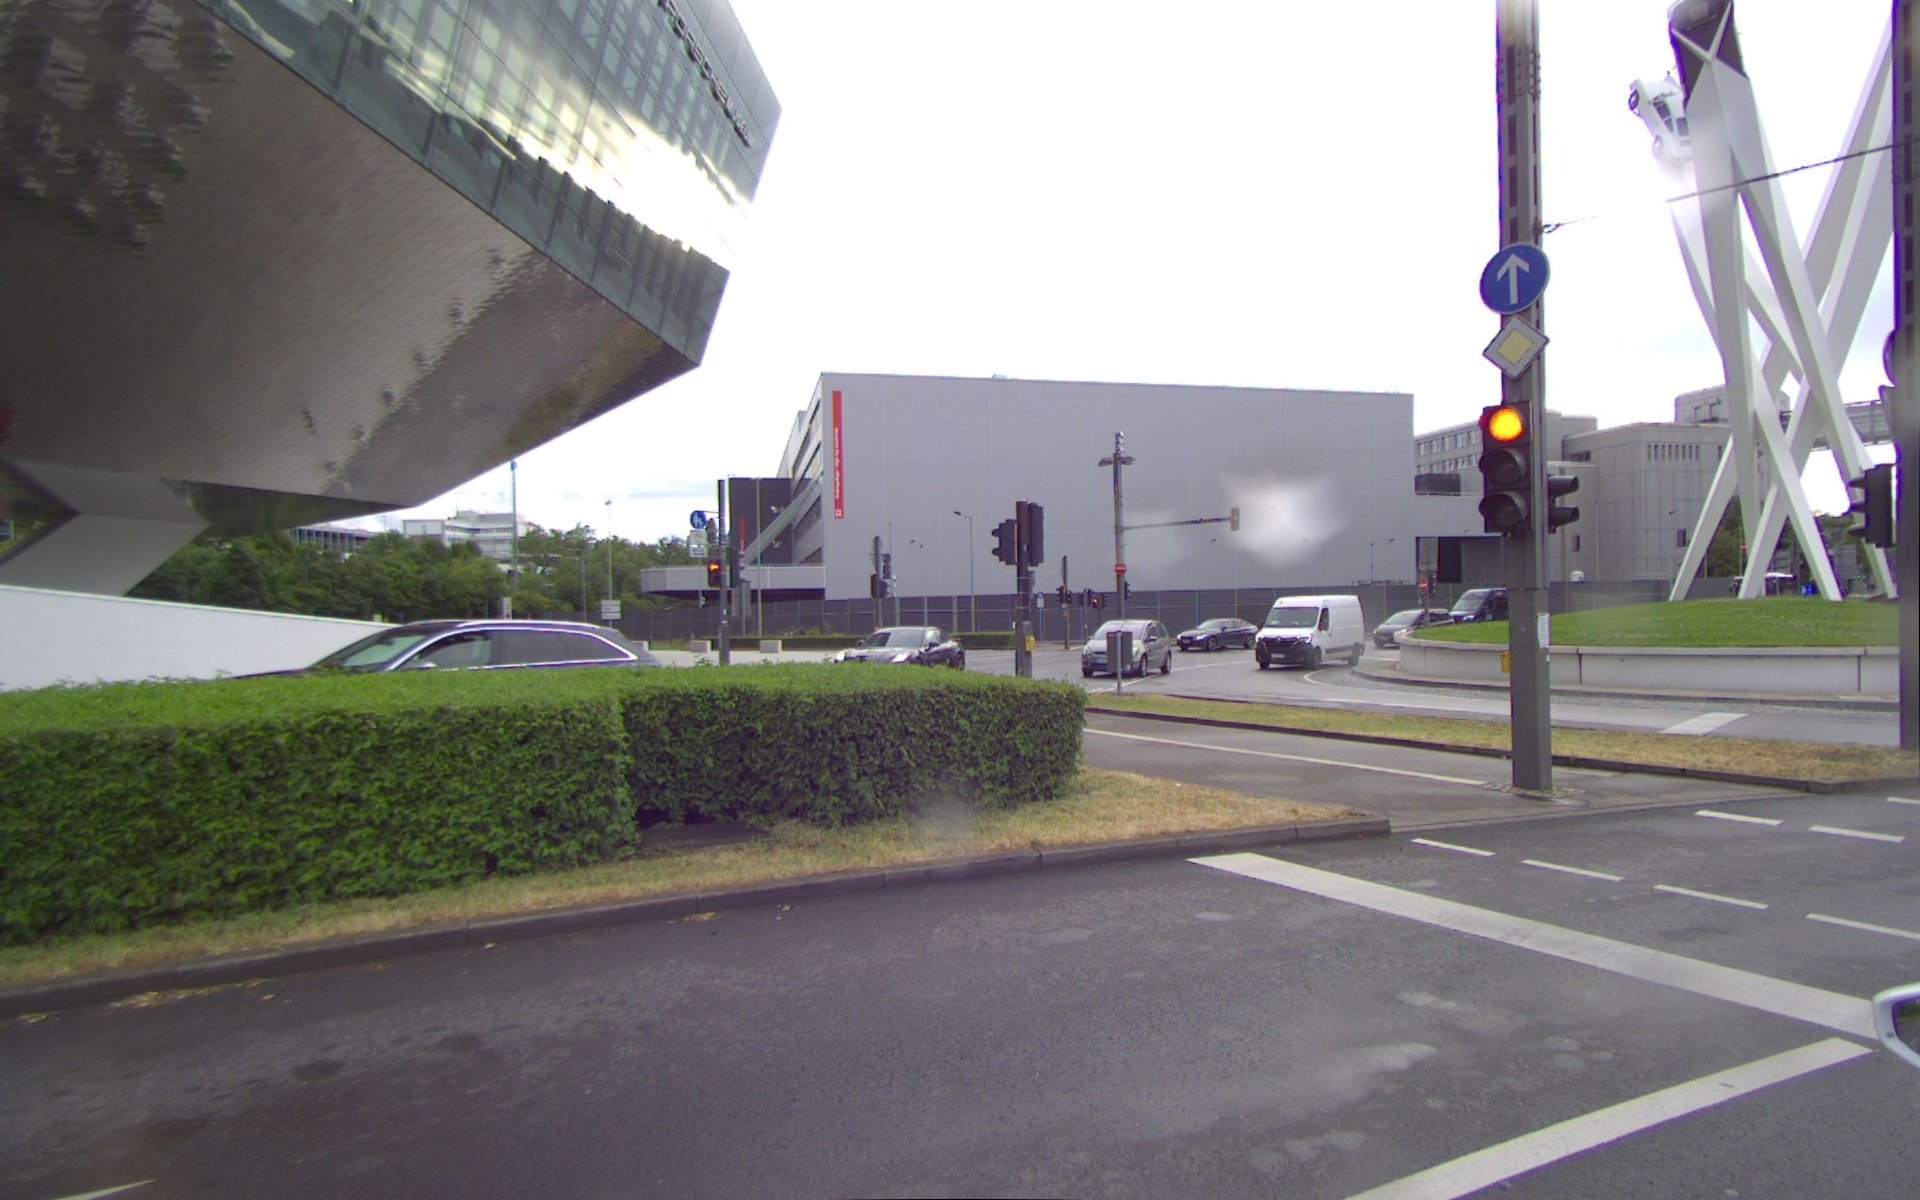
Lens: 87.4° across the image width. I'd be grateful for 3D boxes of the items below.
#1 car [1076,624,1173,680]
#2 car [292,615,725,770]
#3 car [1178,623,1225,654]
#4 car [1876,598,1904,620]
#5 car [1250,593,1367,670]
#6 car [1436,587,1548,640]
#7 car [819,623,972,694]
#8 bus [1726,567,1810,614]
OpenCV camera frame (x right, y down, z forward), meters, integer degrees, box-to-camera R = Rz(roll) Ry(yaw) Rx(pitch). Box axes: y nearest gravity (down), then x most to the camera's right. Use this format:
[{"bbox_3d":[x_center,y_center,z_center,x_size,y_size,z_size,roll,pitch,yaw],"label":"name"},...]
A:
[{"bbox_3d":[4.957,1.474,29.888,1.805,1.514,3.996,0,-1,26],"label":"car"},{"bbox_3d":[-4.702,0.853,11.013,1.820,1.356,3.989,0,-1,33],"label":"car"},{"bbox_3d":[11.446,1.767,47.492,1.803,1.356,4.248,0,-1,18],"label":"car"},{"bbox_3d":[88.427,0.851,95.482,3.732,2.040,1.629,1,0,-43],"label":"car"},{"bbox_3d":[12.251,1.071,35.066,1.971,2.479,5.398,-1,-1,41],"label":"car"},{"bbox_3d":[30.405,0.802,57.318,7.035,2.858,1.960,1,-1,-27],"label":"car"},{"bbox_3d":[-1.394,1.294,23.742,1.804,1.491,4.512,0,-1,22],"label":"car"},{"bbox_3d":[61.539,-0.628,76.340,12.565,3.243,2.646,1,-1,-40],"label":"bus"}]
